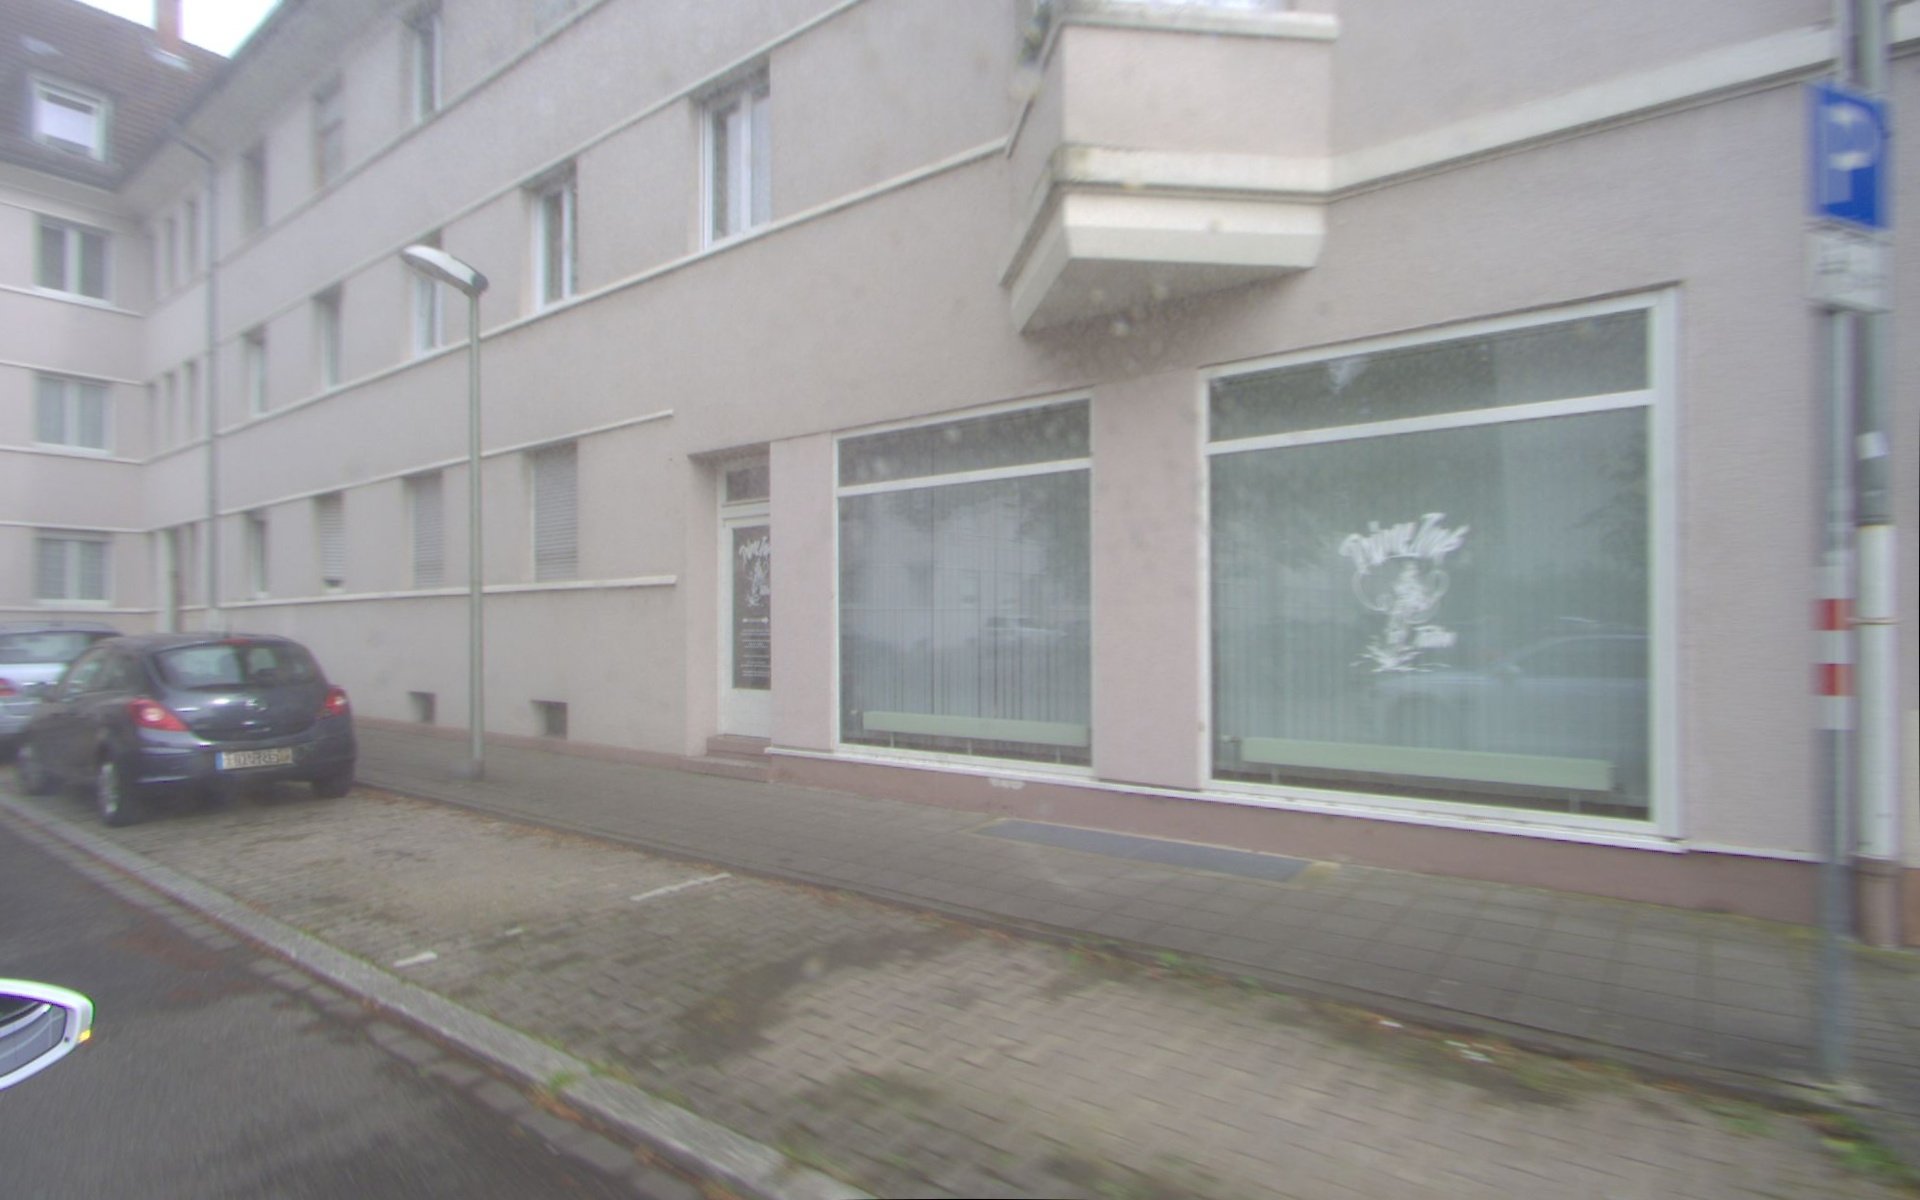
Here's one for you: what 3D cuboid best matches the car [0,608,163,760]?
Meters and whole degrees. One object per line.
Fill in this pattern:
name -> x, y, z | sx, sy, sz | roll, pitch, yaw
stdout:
car -> -11.630, 0.984, 12.624 | 4.152, 1.648, 1.749 | -2, -2, 41

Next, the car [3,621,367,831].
car -> -7.136, 0.983, 9.103 | 3.889, 1.508, 1.750 | -2, -2, 39
